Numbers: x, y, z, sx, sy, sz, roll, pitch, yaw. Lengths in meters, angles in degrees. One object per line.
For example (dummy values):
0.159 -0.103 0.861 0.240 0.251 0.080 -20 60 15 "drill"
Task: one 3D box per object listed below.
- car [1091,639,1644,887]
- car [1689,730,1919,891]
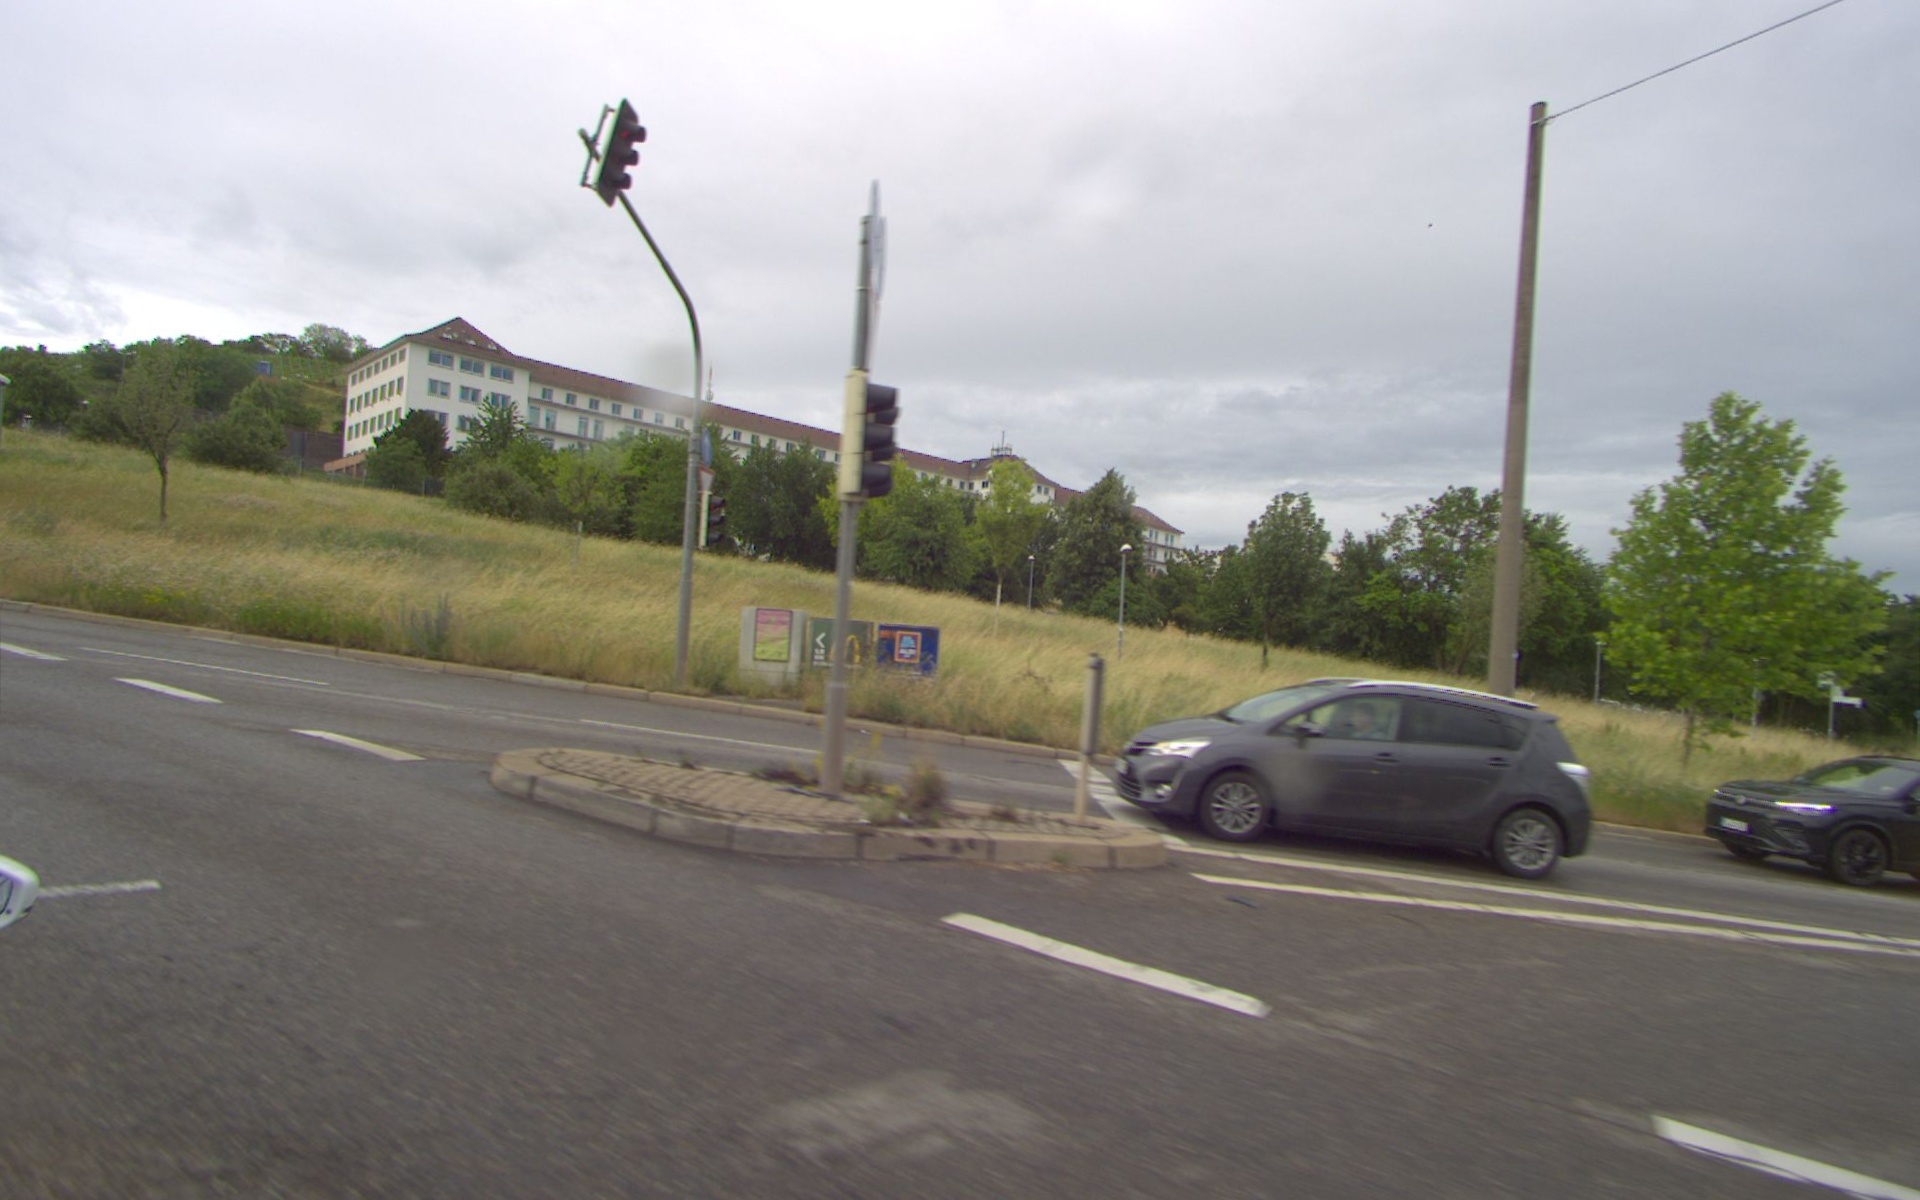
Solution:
3.794 1.504 10.004 4.543 1.661 2.001 7 -1 -1 "car"
12.193 2.837 13.244 3.816 1.661 1.722 7 -2 -1 "car"
